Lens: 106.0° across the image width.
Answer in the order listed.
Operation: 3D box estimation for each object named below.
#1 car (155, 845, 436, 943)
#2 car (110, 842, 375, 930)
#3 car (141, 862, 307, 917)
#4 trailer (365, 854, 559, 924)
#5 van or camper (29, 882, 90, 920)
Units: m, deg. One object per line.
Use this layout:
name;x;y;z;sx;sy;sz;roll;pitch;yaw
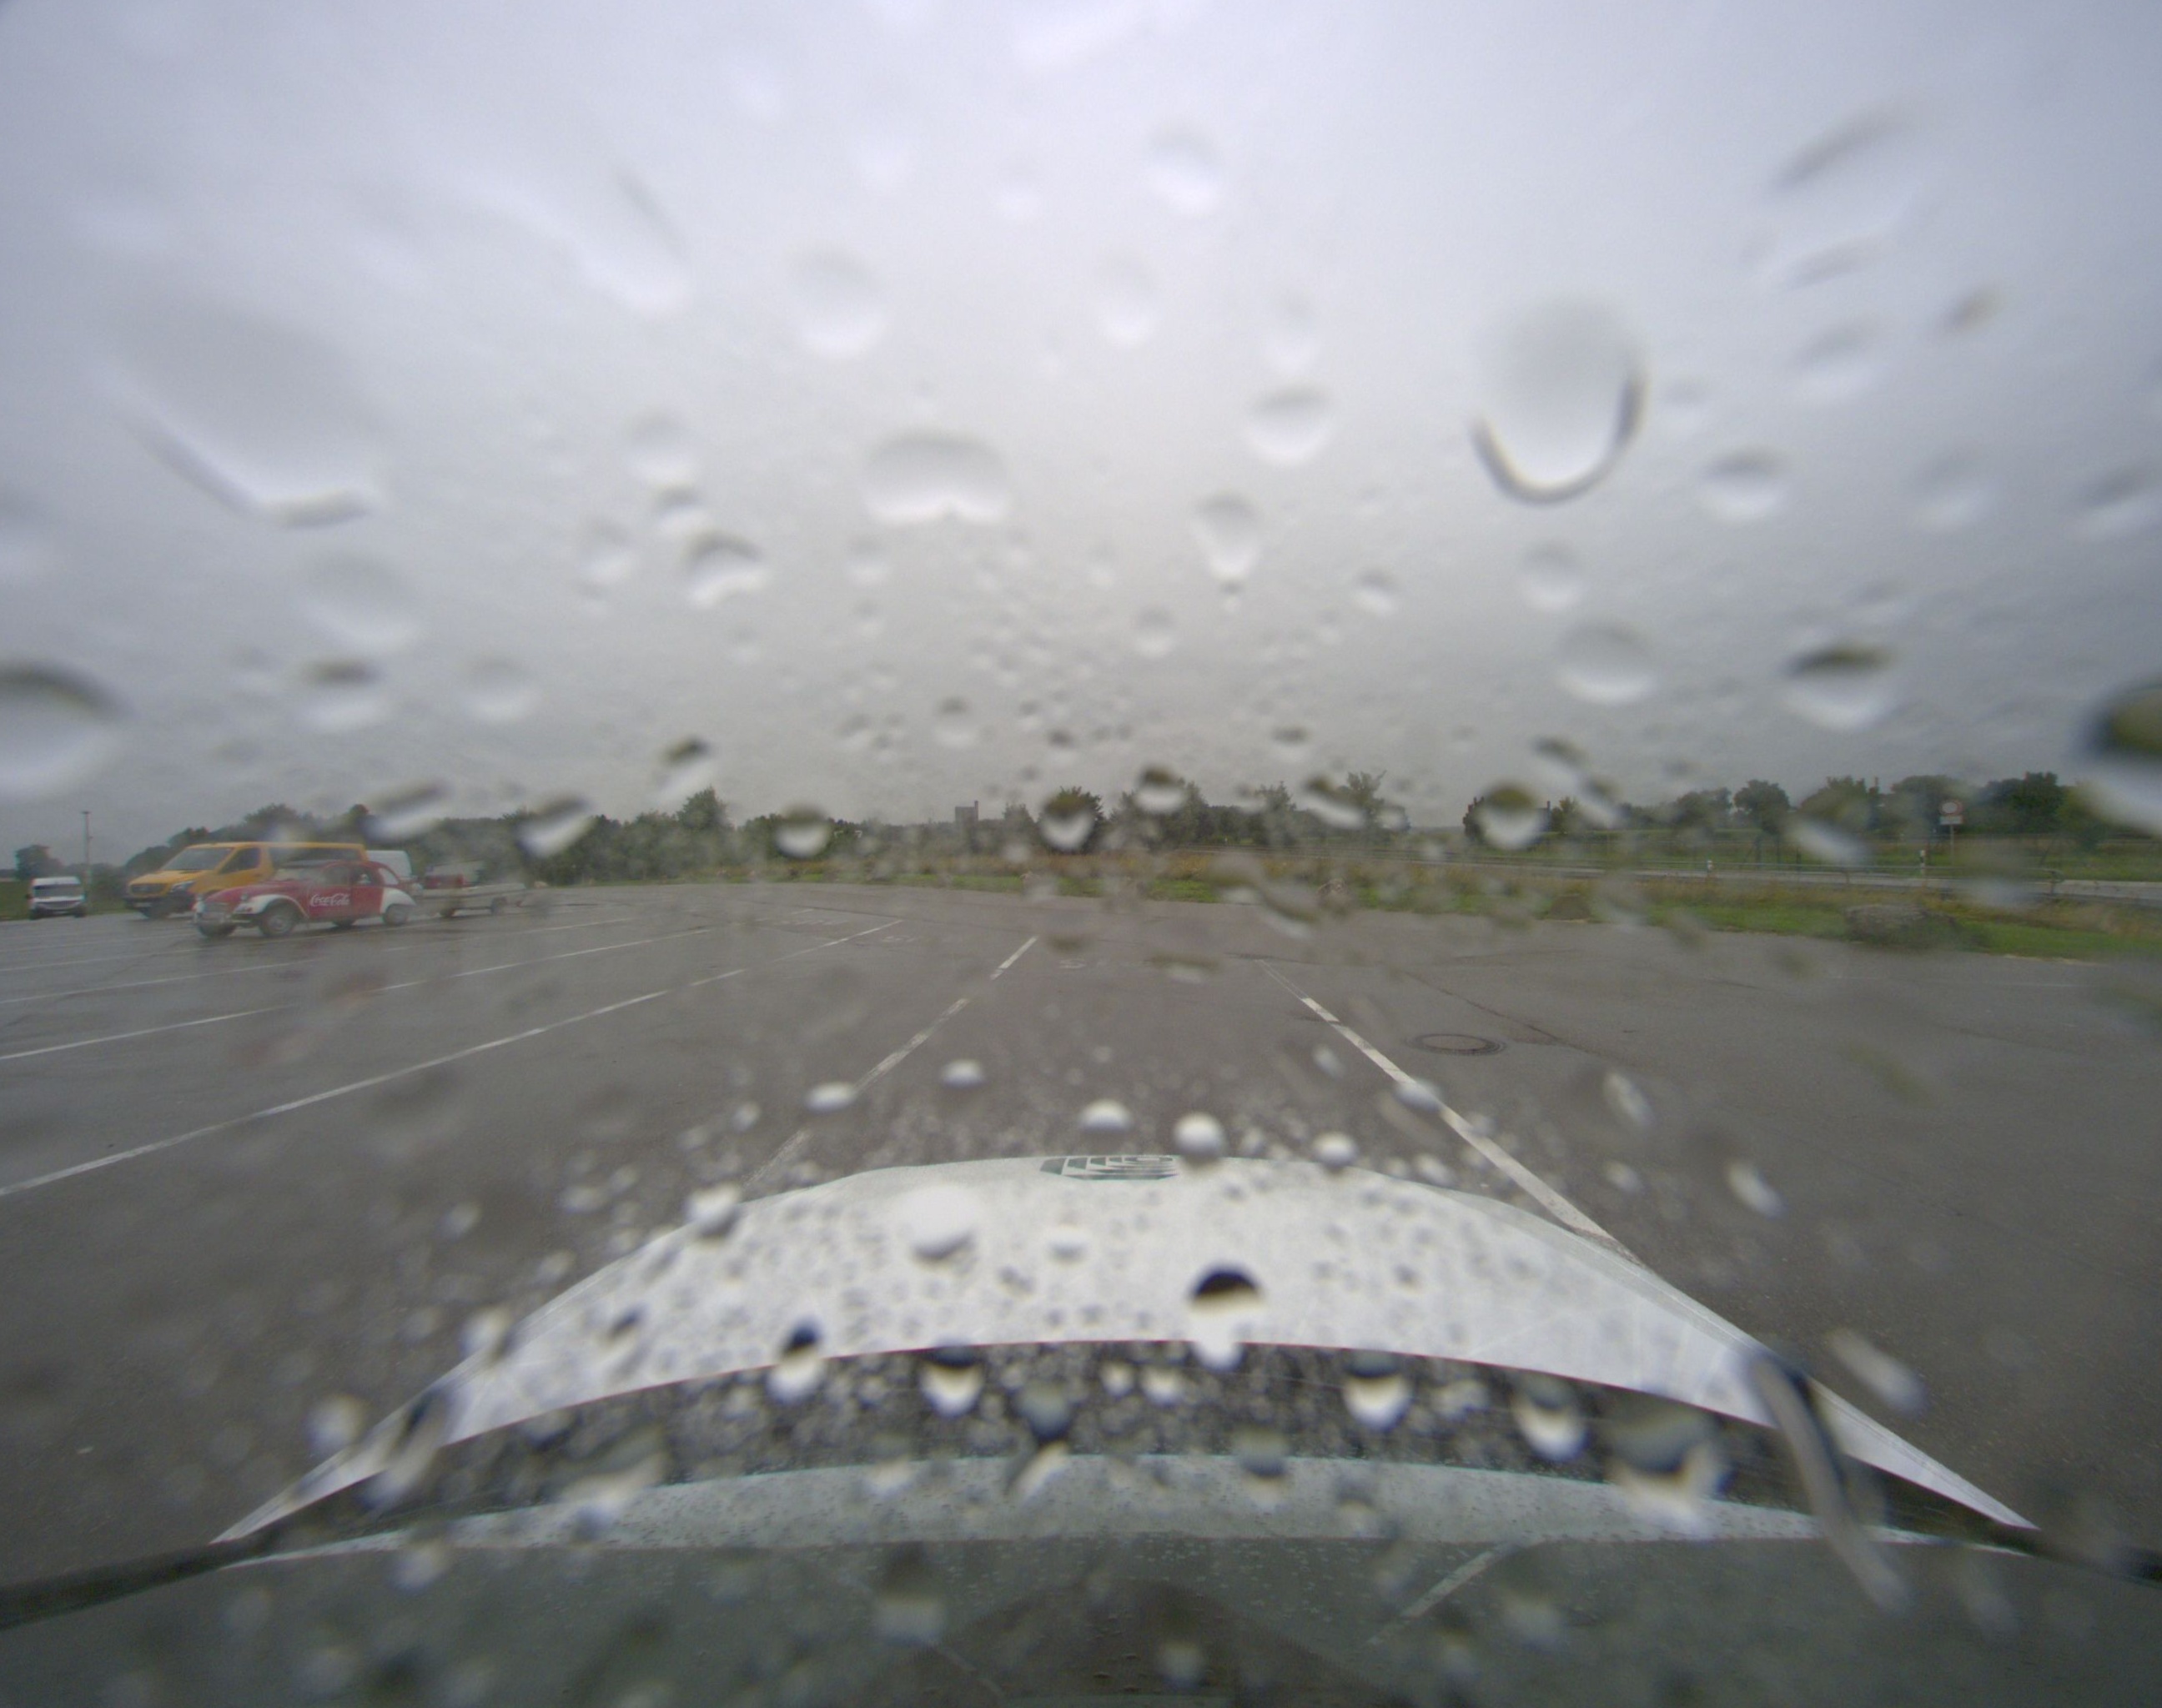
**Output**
car;-16.357;0.754;17.303;1.813;1.777;4.007;-2;0;6
car;-26.459;0.910;26.157;1.986;2.380;6.029;-4;0;2
car;-38.817;1.529;37.082;1.977;2.201;4.797;0;0;19
trailer;-15.950;0.834;21.288;1.686;1.532;4.006;-2;1;5
van or camper;-62.039;2.834;49.463;3.948;2.166;2.013;-2;0;35
